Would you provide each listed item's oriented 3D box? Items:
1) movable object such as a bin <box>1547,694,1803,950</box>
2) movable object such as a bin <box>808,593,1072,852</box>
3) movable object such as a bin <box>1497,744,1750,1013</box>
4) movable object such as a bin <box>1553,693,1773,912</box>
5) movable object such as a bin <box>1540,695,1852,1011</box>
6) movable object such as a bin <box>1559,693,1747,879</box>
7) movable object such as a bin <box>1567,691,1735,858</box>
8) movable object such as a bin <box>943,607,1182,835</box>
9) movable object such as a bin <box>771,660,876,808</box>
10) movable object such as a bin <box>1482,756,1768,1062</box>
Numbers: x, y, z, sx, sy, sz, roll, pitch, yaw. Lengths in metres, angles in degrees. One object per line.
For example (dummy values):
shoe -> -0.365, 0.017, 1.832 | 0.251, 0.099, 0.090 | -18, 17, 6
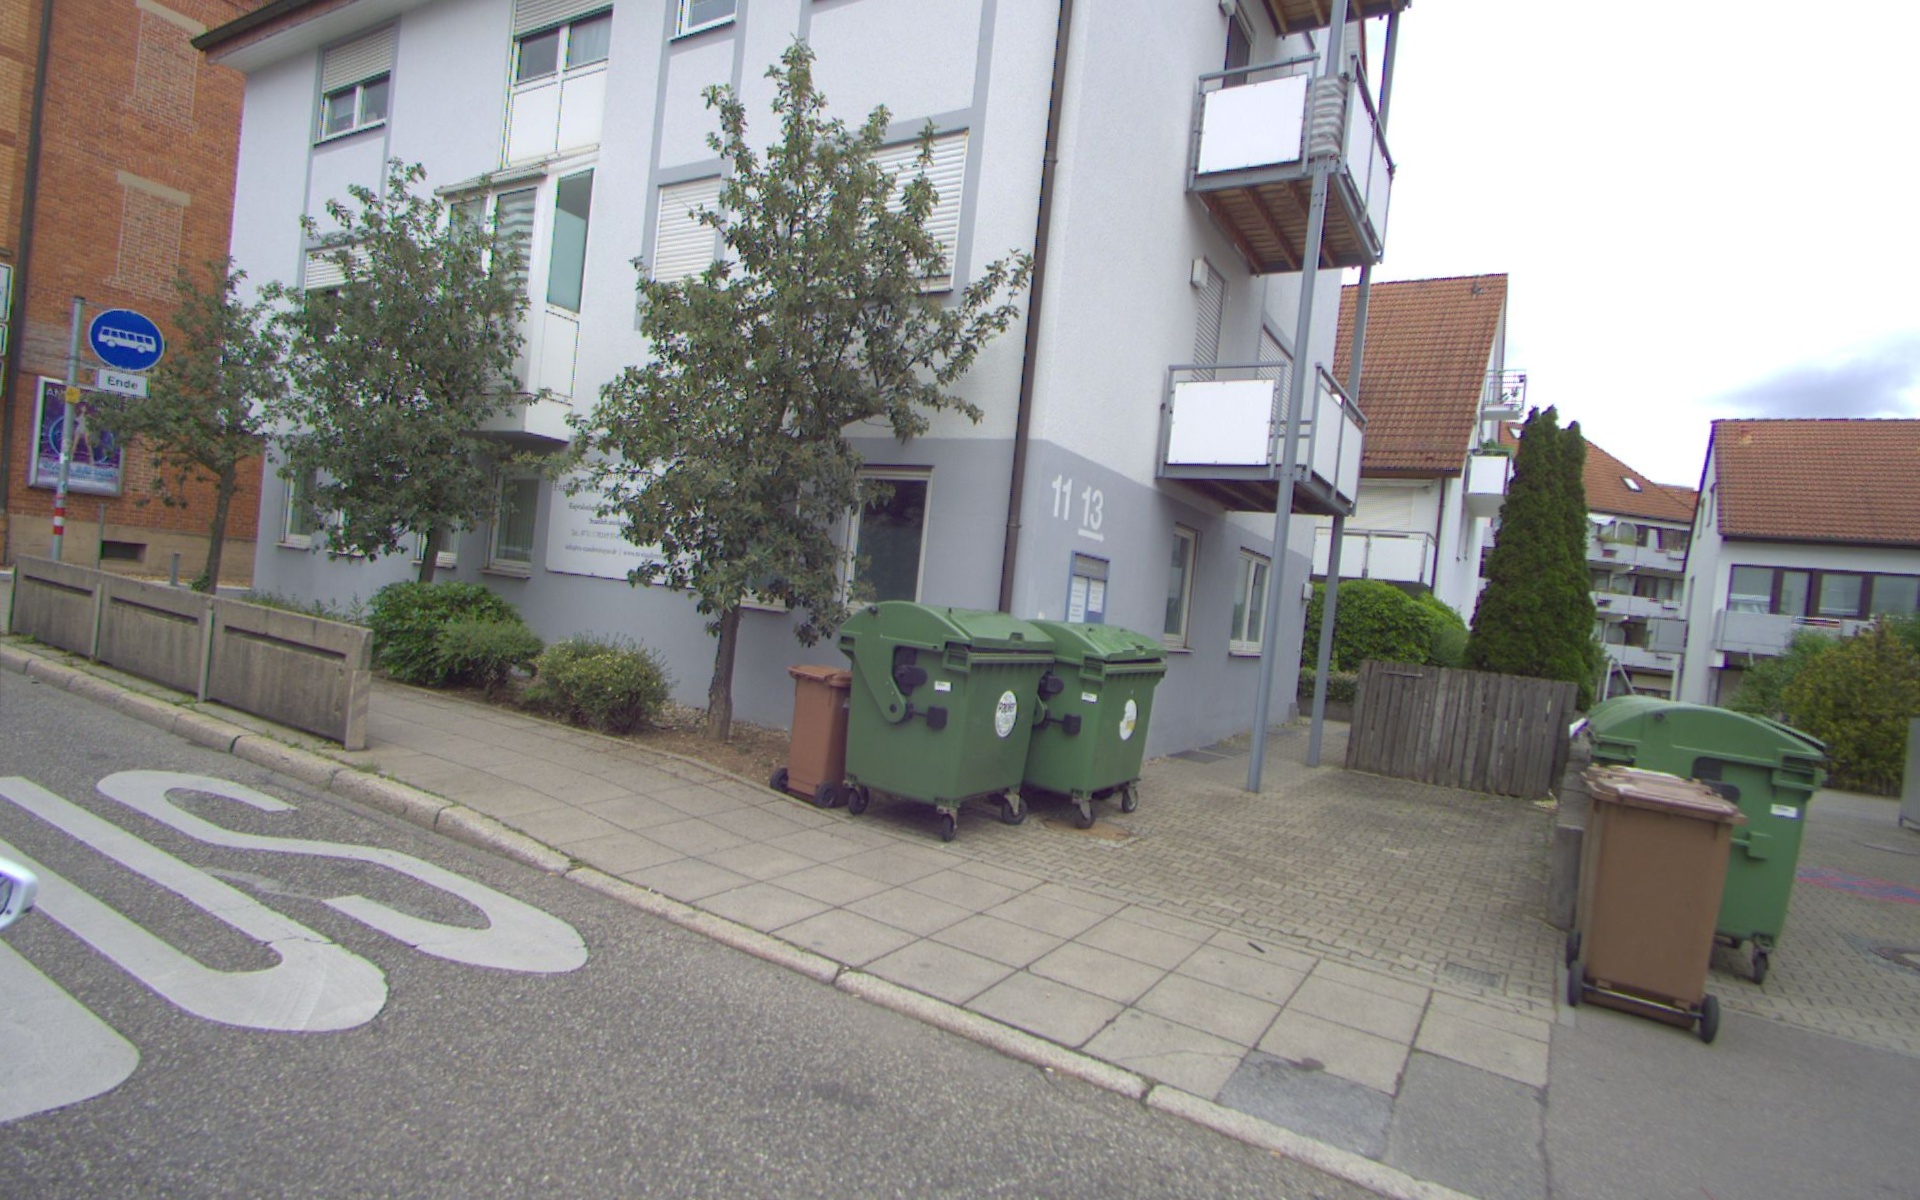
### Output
movable object such as a bin -> 5.027, 1.471, 7.156 | 1.239, 1.435, 1.210 | 7, 1, 35
movable object such as a bin -> -0.106, 0.769, 6.804 | 1.143, 1.435, 1.268 | 7, 1, 32
movable object such as a bin -> 3.514, 1.413, 5.369 | 0.956, 1.093, 0.698 | 7, 1, 35
movable object such as a bin -> 5.699, 1.563, 8.217 | 1.239, 1.435, 1.210 | 7, 1, 35
movable object such as a bin -> 4.310, 1.377, 5.999 | 1.239, 1.435, 1.210 | 7, 1, 35
movable object such as a bin -> 6.518, 1.681, 9.512 | 1.239, 1.435, 1.210 | 7, 1, 35
movable object such as a bin -> 7.215, 1.761, 10.545 | 1.239, 1.435, 1.210 | 7, 1, 35
movable object such as a bin -> 0.817, 0.880, 7.822 | 1.286, 1.453, 1.268 | 7, 1, 32
movable object such as a bin -> -0.947, 0.917, 7.002 | 0.457, 0.932, 0.430 | 7, 1, 32
movable object such as a bin -> 3.113, 1.378, 4.759 | 0.956, 1.081, 0.683 | 7, 1, 35
